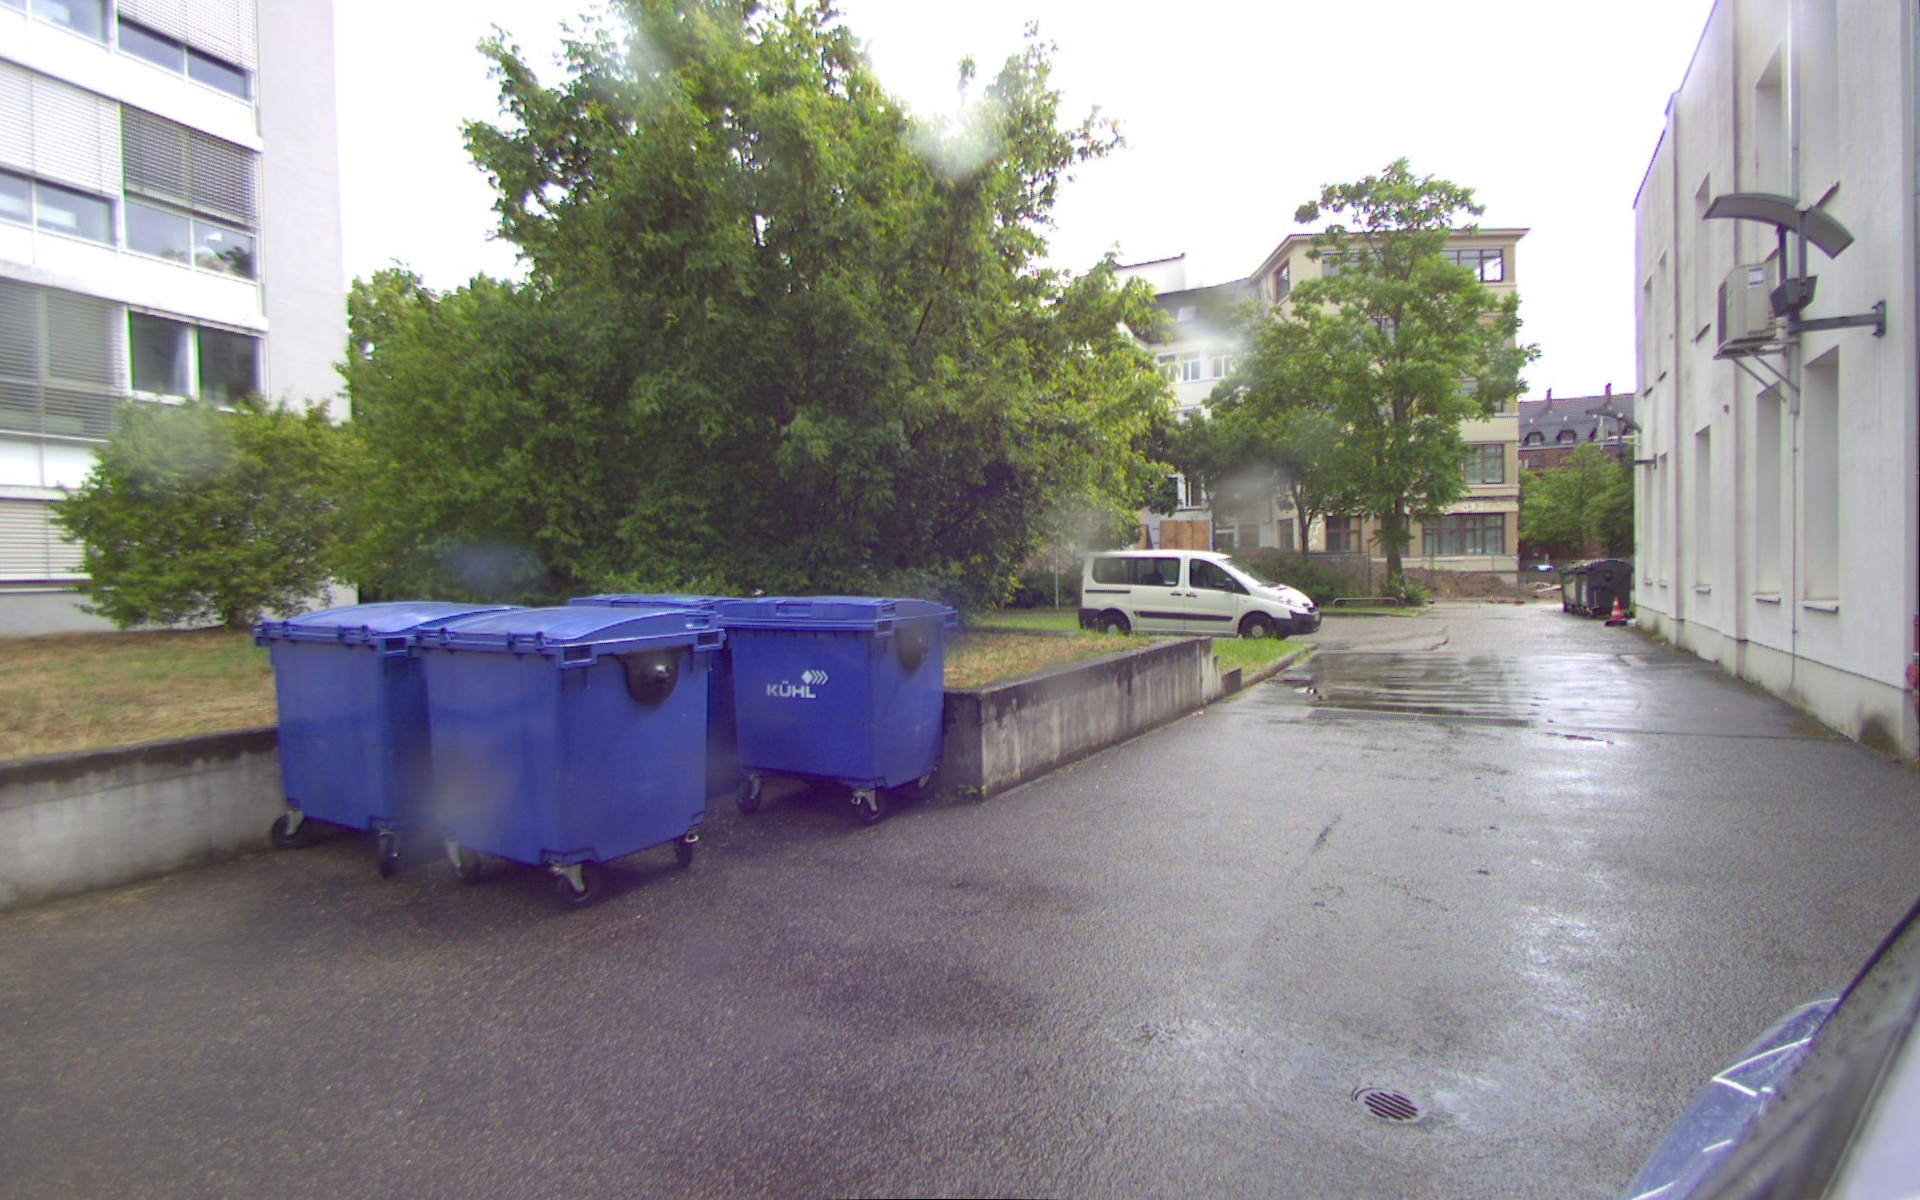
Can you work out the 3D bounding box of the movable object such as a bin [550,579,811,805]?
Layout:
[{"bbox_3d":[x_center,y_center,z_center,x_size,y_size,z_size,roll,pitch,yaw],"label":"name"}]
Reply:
[{"bbox_3d":[-1.917,0.545,7.024,1.286,1.353,1.184,1,2,30],"label":"movable object such as a bin"}]

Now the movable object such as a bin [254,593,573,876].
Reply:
[{"bbox_3d":[-3.019,0.644,5.649,1.179,1.320,1.096,1,2,29],"label":"movable object such as a bin"}]

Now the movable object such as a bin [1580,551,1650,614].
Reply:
[{"bbox_3d":[16.128,-0.453,24.977,1.155,1.501,1.583,1,2,23],"label":"movable object such as a bin"}]

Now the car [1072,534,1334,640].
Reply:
[{"bbox_3d":[4.960,-0.243,20.837,4.848,1.949,2.078,-1,2,31],"label":"car"}]

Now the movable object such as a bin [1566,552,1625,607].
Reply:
[{"bbox_3d":[18.161,-0.578,28.971,1.154,1.502,1.392,-1,-1,22],"label":"movable object such as a bin"}]

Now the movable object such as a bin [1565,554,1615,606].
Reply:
[{"bbox_3d":[18.872,-0.608,30.311,1.099,1.491,1.465,-1,1,38],"label":"movable object such as a bin"}]

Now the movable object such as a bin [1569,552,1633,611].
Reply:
[{"bbox_3d":[16.742,-0.503,26.473,1.155,1.501,1.486,1,2,23],"label":"movable object such as a bin"}]

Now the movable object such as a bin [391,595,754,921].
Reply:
[{"bbox_3d":[-1.910,0.659,5.054,1.365,1.320,1.072,1,2,30],"label":"movable object such as a bin"}]

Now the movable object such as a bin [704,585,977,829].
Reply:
[{"bbox_3d":[-0.736,0.582,6.404,1.331,1.307,1.084,1,3,30],"label":"movable object such as a bin"}]
